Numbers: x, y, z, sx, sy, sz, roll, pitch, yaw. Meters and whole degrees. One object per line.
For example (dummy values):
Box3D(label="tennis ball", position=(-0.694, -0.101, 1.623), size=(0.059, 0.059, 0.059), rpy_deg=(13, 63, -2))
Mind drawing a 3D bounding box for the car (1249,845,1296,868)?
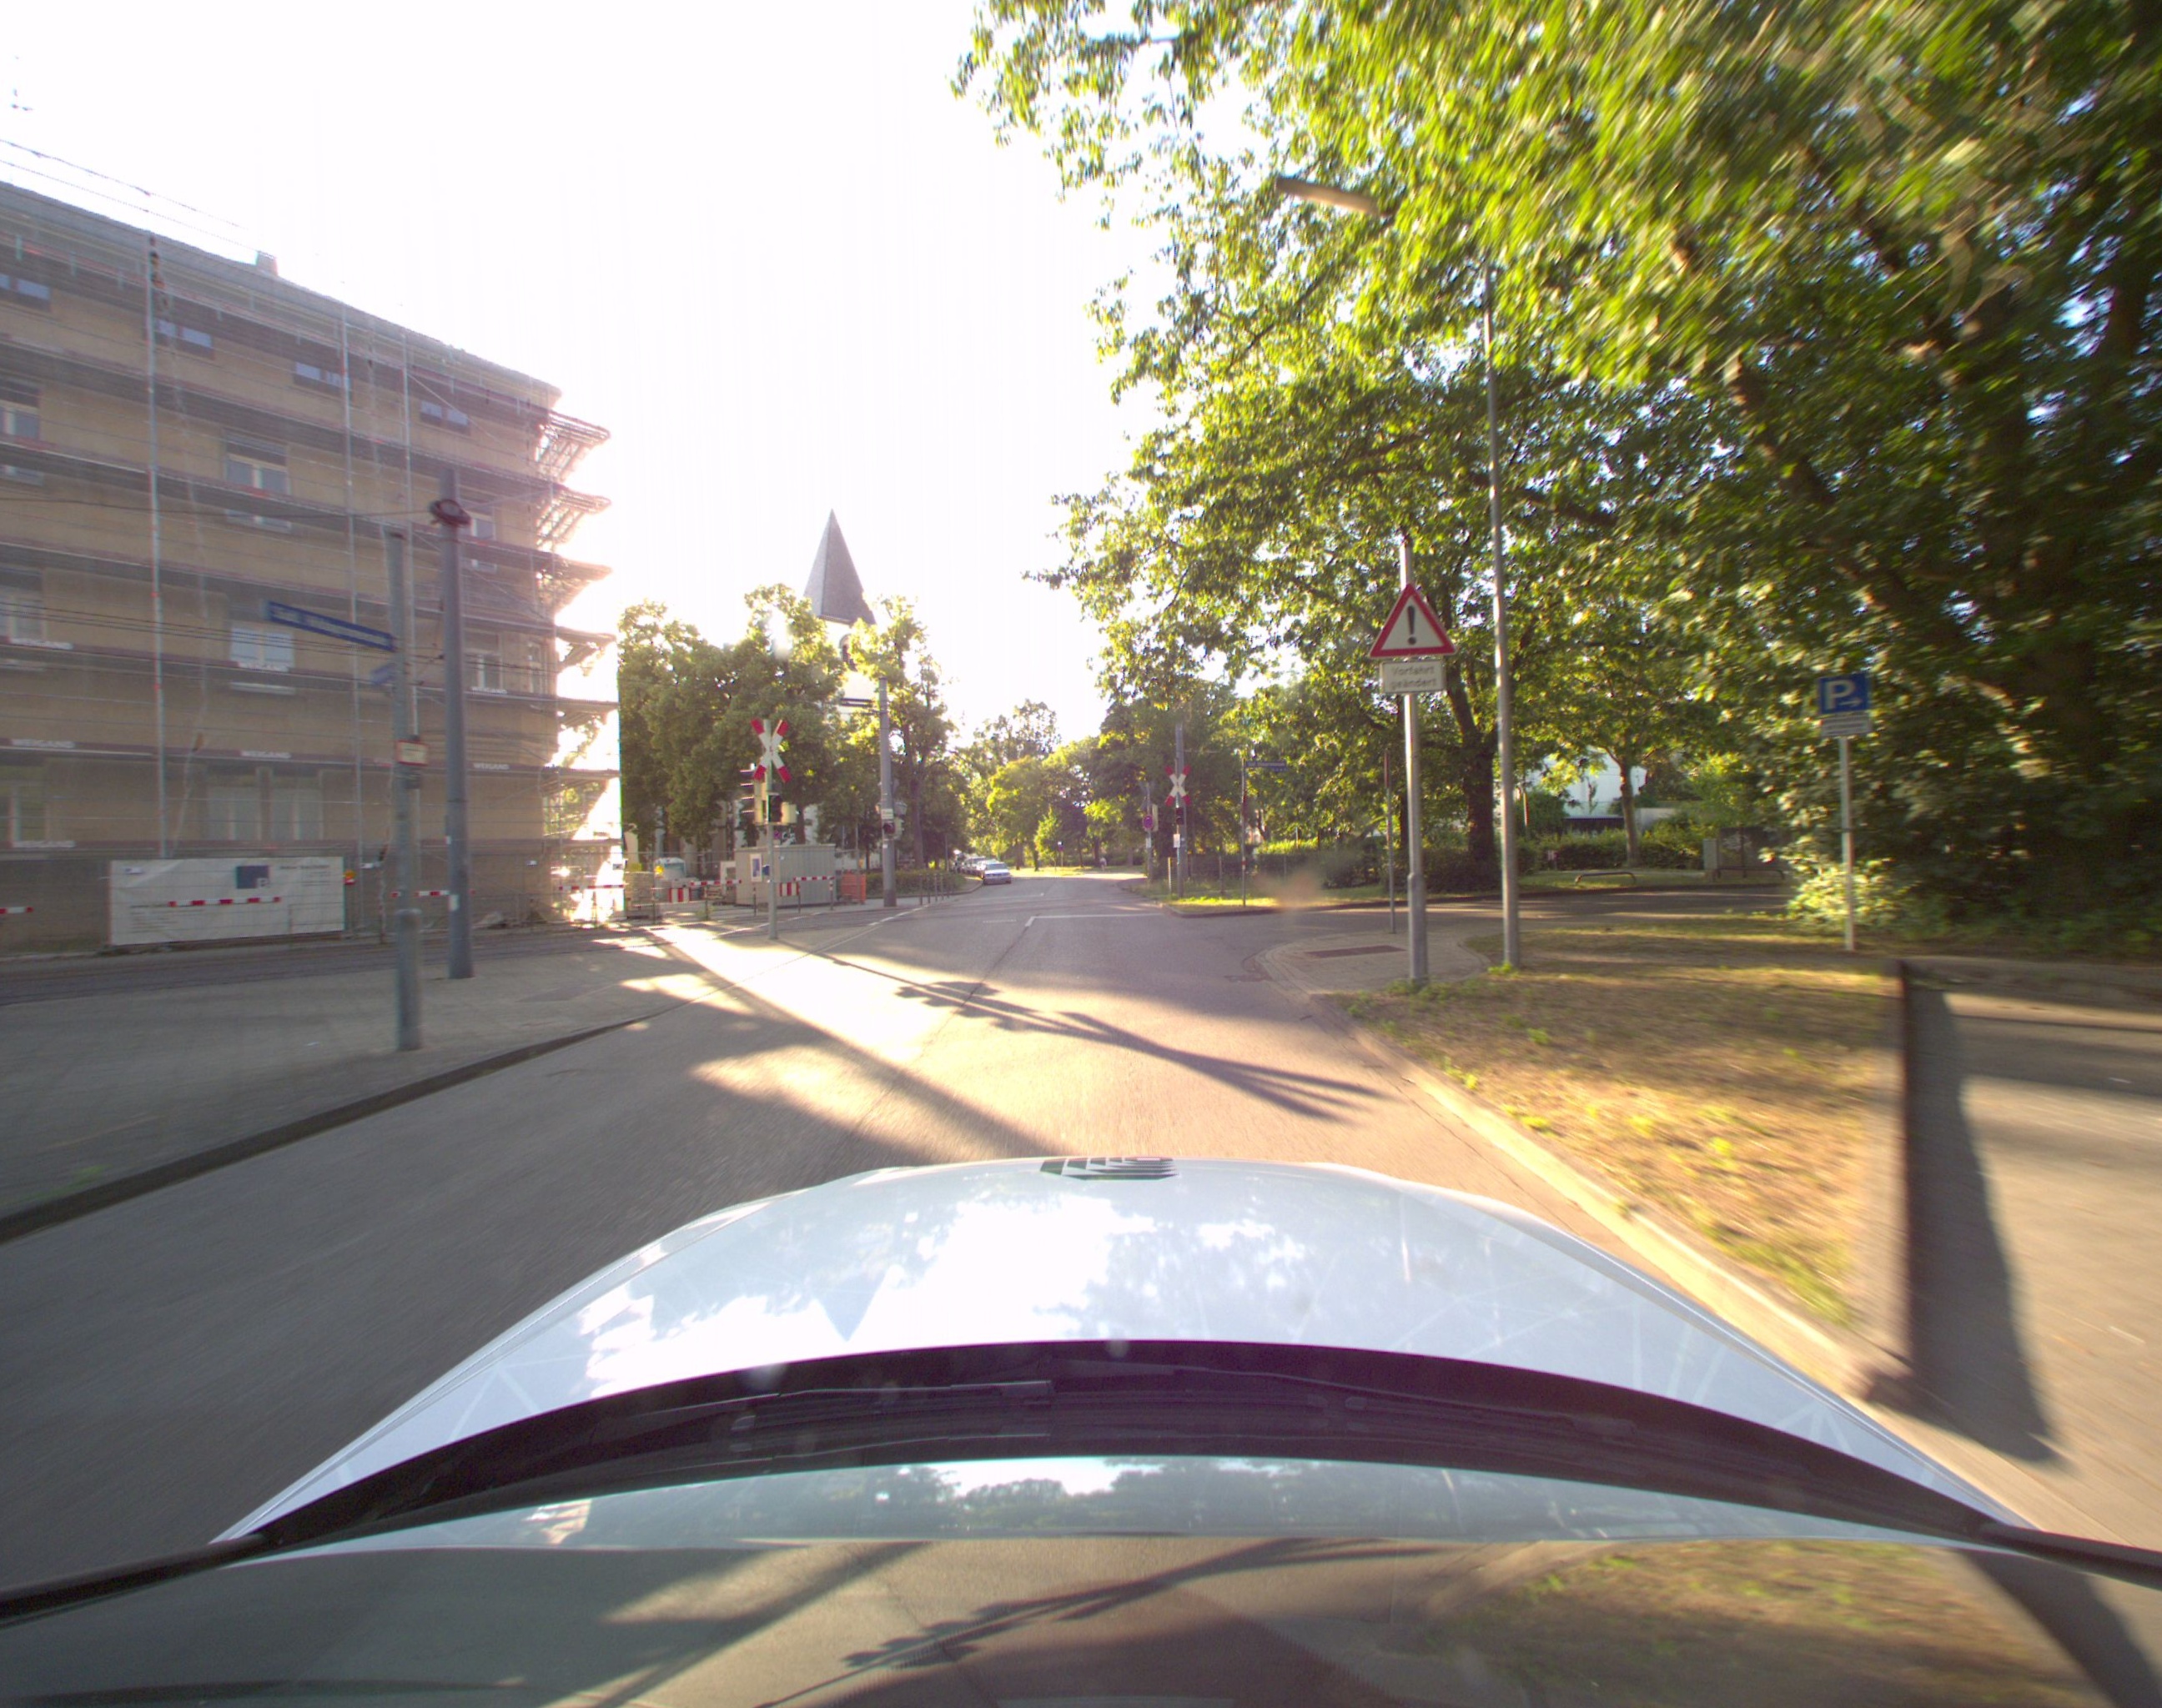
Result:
Box3D(label="car", position=(17.850, 0.198, 75.813), size=(1.934, 2.013, 5.185), rpy_deg=(-2, 0, 42))

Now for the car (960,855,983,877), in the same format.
Box3D(label="car", position=(-12.636, 1.380, 93.950), size=(1.855, 2.356, 5.157), rpy_deg=(-2, 0, -16))

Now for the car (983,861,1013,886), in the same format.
Box3D(label="car", position=(-5.484, 1.268, 53.451), size=(1.777, 1.415, 4.488), rpy_deg=(-4, 0, -6))

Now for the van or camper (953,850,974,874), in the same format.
Box3D(label="van or camper", position=(-15.346, 1.050, 106.178), size=(2.092, 2.908, 6.303), rpy_deg=(-2, 0, -13))

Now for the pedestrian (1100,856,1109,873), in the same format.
Box3D(label="pedestrian", position=(2.246, 1.028, 77.440), size=(0.771, 1.574, 0.767), rpy_deg=(-2, 0, -1))

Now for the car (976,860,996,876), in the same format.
Box3D(label="car", position=(-9.185, 1.314, 78.539), size=(1.616, 1.501, 3.683), rpy_deg=(-2, 0, -11))

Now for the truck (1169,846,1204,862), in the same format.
Box3D(label="truck", position=(21.620, 0.051, 167.348), size=(2.621, 3.029, 7.930), rpy_deg=(-1, 0, -31))

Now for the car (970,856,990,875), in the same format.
Box3D(label="car", position=(-10.781, 1.239, 86.763), size=(1.852, 1.946, 4.822), rpy_deg=(-2, 0, -11))

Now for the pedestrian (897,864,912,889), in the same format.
Box3D(label="pedestrian", position=(-9.418, 1.203, 43.501), size=(0.548, 1.298, 0.767), rpy_deg=(-2, 0, 7))

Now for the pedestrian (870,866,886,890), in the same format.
Box3D(label="pedestrian", position=(-10.825, 1.272, 43.393), size=(0.548, 1.233, 0.726), rpy_deg=(-2, 0, 7))
